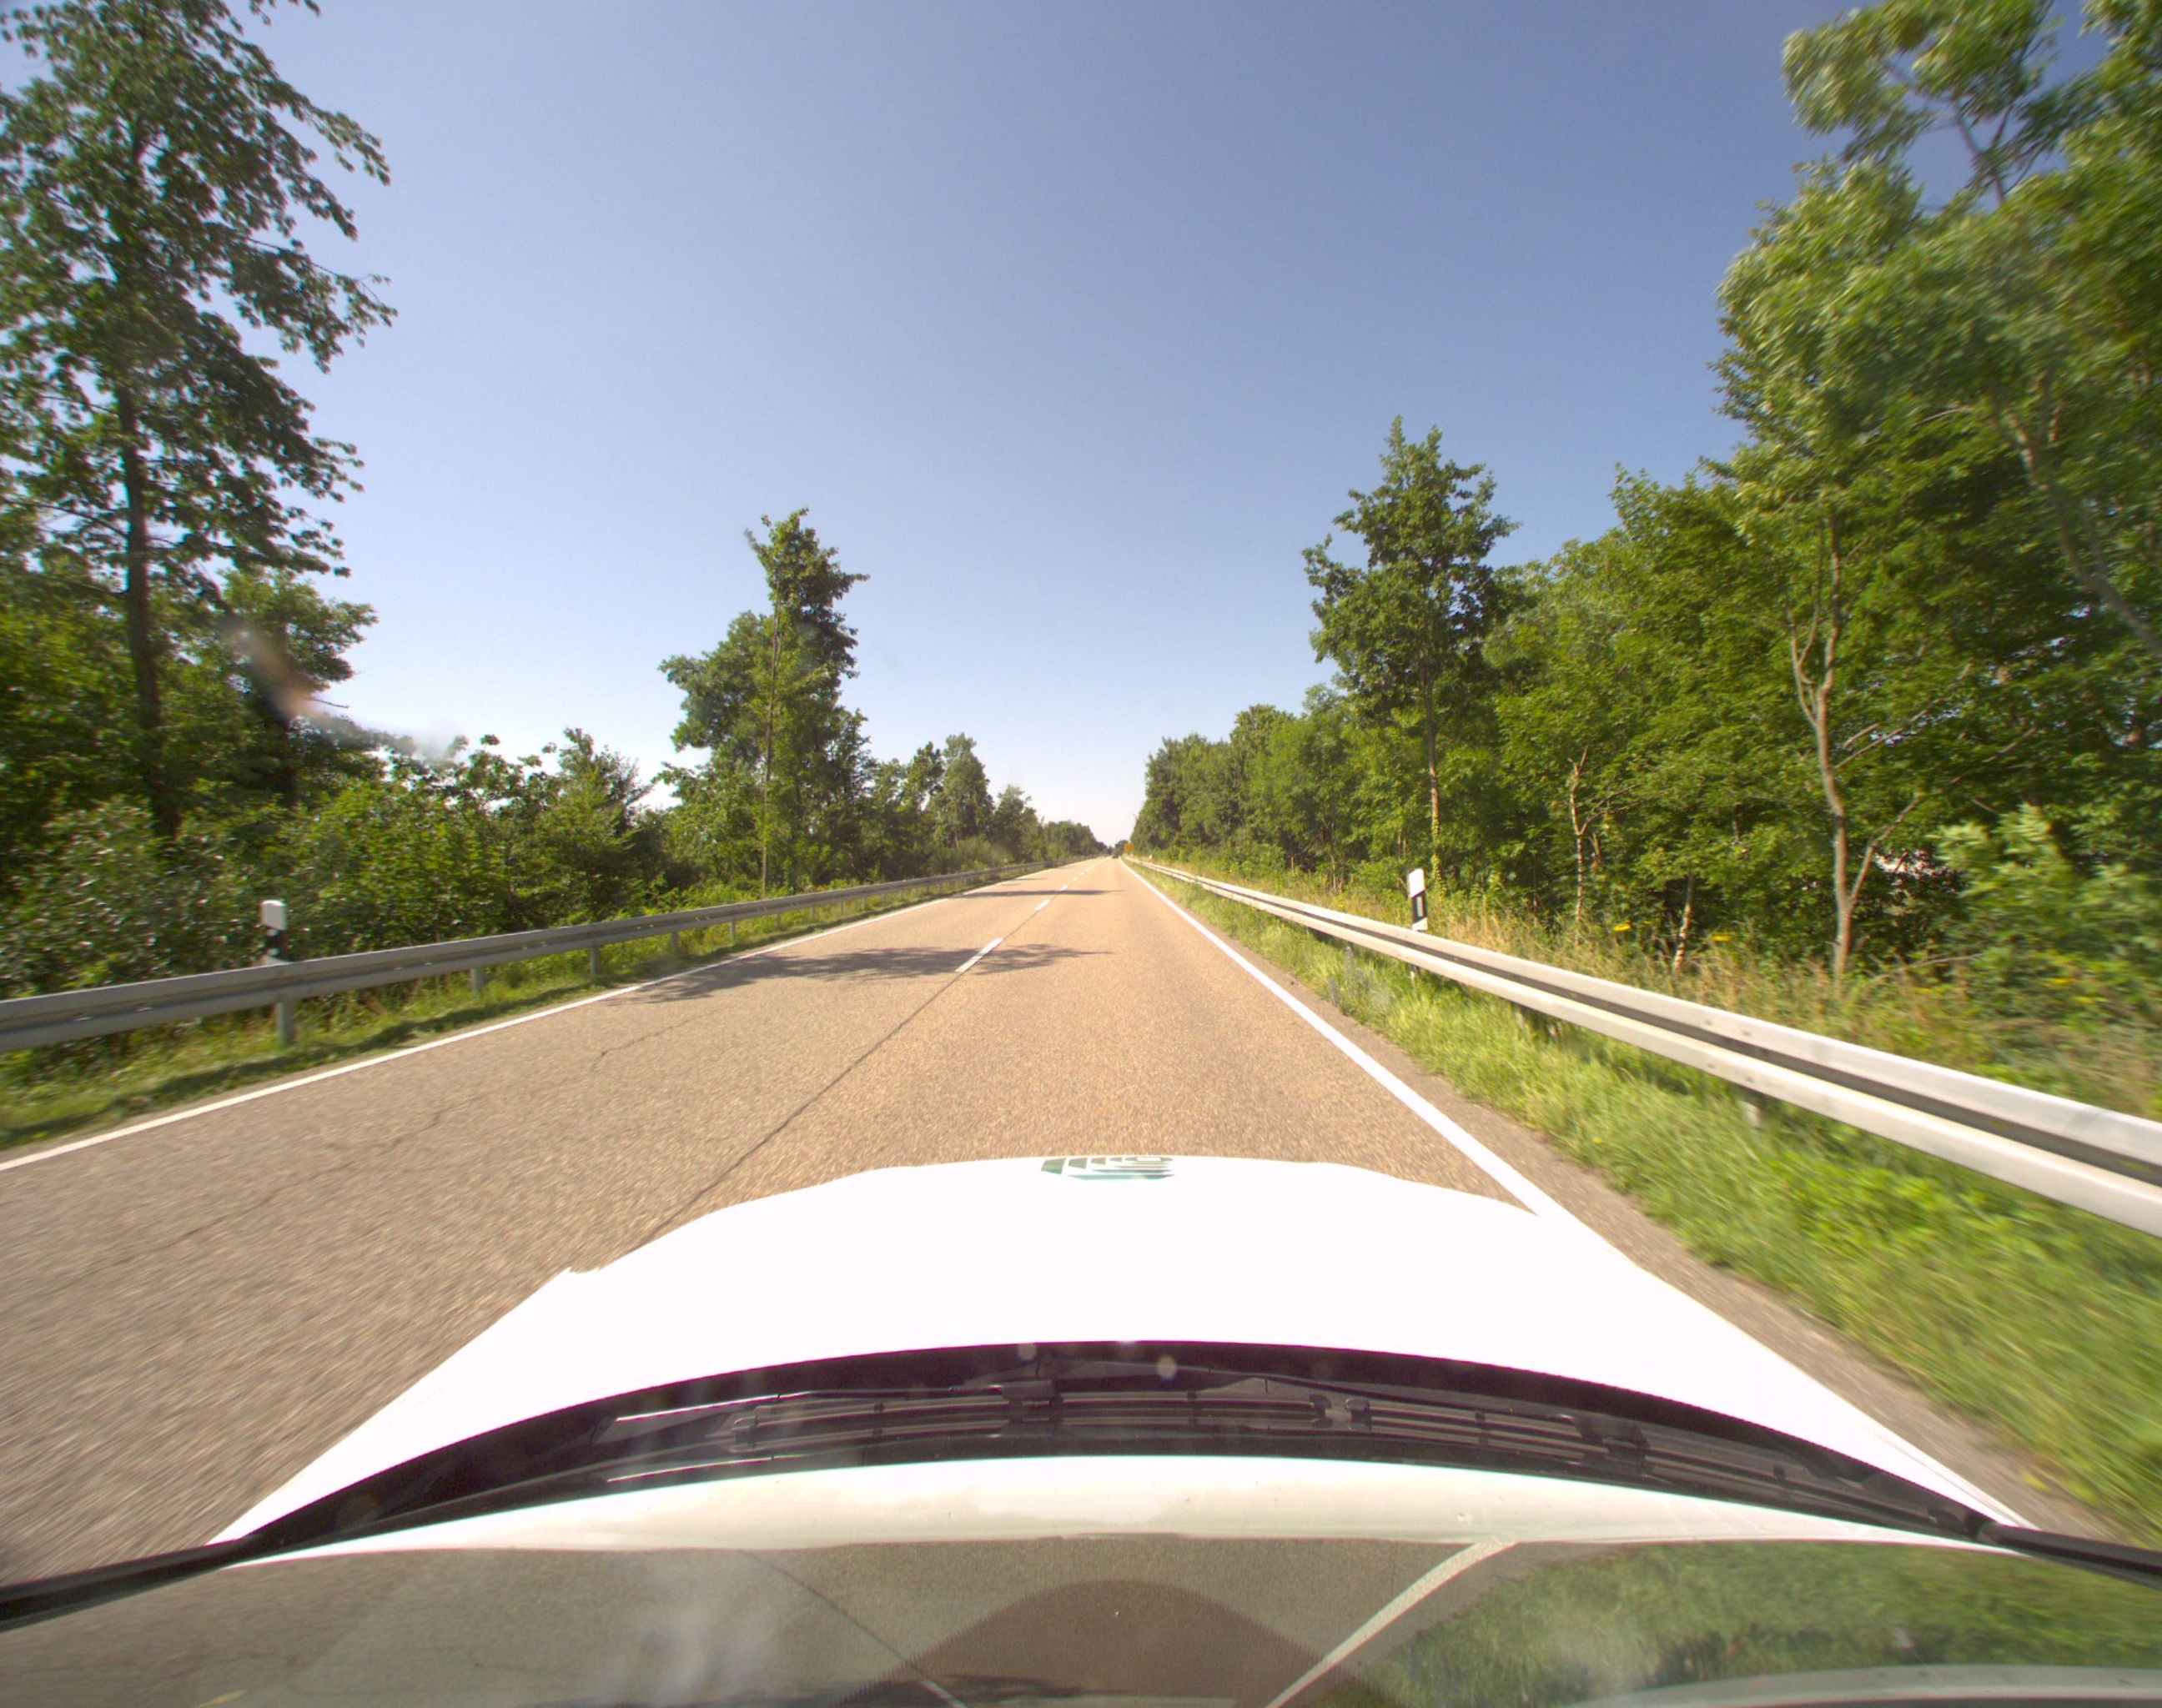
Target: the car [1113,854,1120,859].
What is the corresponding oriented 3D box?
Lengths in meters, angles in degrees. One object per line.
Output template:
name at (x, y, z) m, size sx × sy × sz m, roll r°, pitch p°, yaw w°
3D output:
car at (9.940, 0.636, 227.911) m, size 1.733 × 1.470 × 3.696 m, roll -1°, pitch 0°, yaw 4°
